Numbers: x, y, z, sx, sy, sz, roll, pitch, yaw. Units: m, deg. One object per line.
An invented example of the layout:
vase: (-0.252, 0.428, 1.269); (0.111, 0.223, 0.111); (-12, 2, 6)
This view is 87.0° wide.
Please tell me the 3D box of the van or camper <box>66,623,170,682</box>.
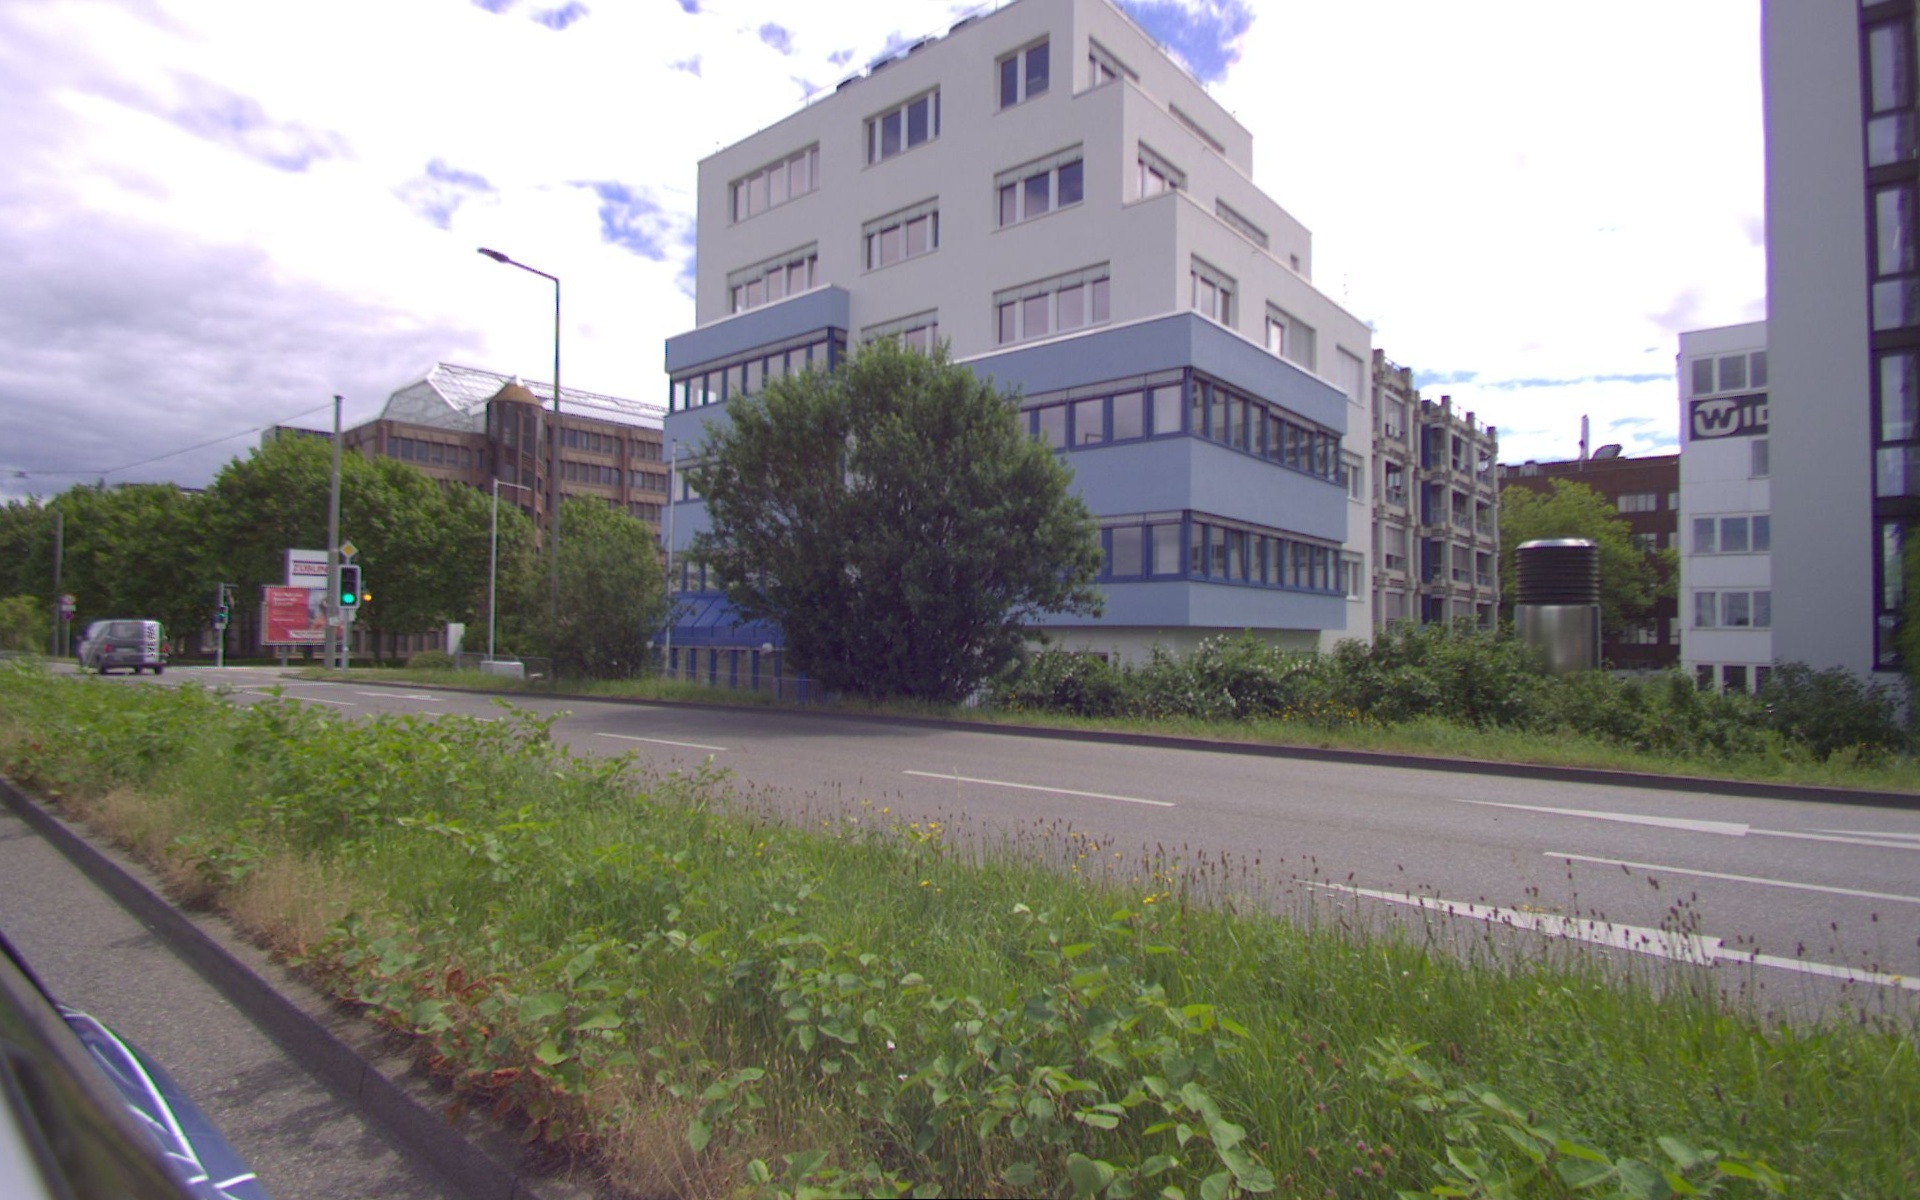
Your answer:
van or camper: (-30.944, 1.866, 37.156); (4.810, 2.029, 1.974); (-1, -2, 39)
